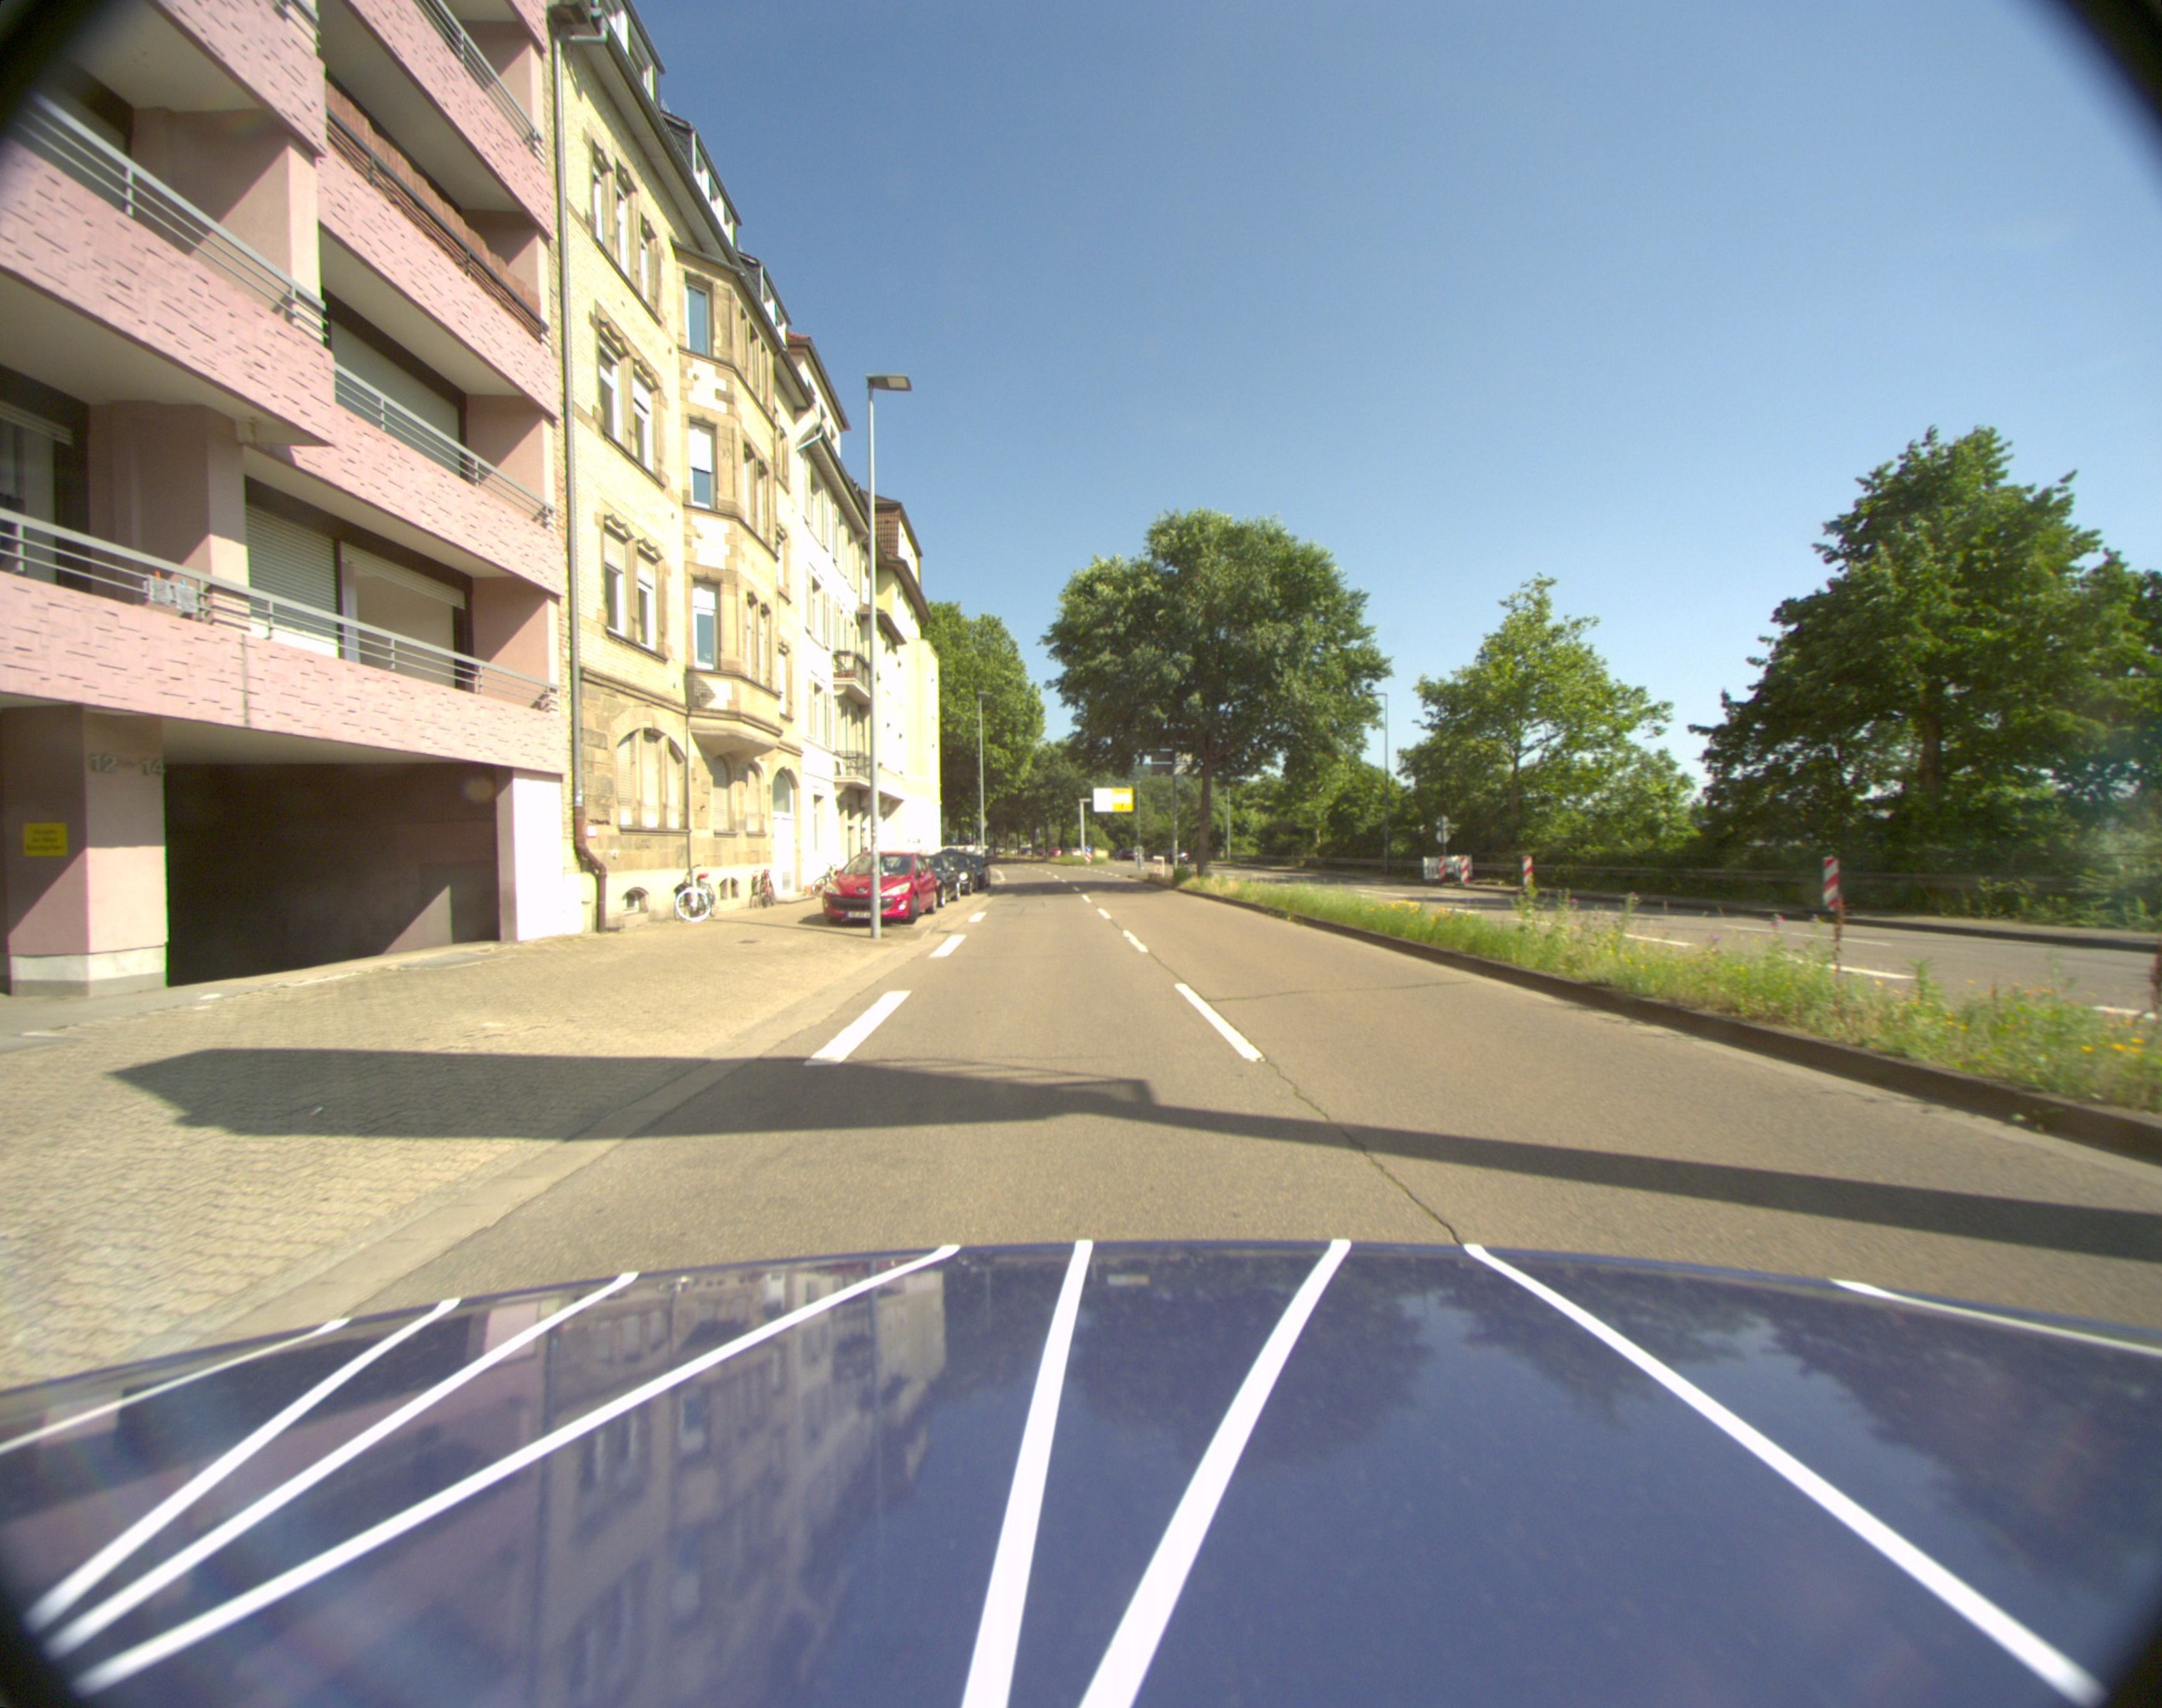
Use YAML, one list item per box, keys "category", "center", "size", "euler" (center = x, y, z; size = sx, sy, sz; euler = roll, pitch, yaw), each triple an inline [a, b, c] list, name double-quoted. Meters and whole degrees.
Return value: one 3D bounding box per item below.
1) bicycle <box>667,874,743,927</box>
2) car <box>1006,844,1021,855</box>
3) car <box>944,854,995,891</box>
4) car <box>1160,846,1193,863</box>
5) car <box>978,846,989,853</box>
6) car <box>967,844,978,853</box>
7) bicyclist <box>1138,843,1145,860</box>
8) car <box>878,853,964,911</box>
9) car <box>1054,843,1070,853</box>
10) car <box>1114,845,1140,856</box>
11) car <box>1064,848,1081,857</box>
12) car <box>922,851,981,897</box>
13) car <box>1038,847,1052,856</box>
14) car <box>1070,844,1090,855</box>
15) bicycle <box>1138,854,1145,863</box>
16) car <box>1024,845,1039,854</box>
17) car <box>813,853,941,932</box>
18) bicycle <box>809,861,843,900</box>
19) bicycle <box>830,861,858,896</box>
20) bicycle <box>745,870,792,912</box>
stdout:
- category: "bicycle"
  center: [-7.803, 0.939, 15.855]
  size: [0.652, 0.964, 1.864]
  euler: [0, 1, 0]
- category: "car"
  center: [-12.669, -0.870, 142.093]
  size: [2.001, 1.880, 3.993]
  euler: [-1, 1, -17]
- category: "car"
  center: [-4.588, 0.726, 31.760]
  size: [1.745, 1.408, 4.079]
  euler: [0, 1, -3]
- category: "car"
  center: [9.141, 0.036, 73.003]
  size: [2.000, 1.519, 4.694]
  euler: [1, 1, -8]
- category: "car"
  center: [-20.832, -1.038, 162.216]
  size: [1.636, 1.487, 3.674]
  euler: [-1, 1, -20]
- category: "car"
  center: [-24.052, -1.157, 168.622]
  size: [1.636, 1.904, 3.674]
  euler: [-1, 1, -20]
- category: "bicyclist"
  center: [5.714, -0.246, 71.687]
  size: [0.574, 1.525, 0.778]
  euler: [0, 1, 1]
- category: "car"
  center: [-4.433, 0.718, 21.589]
  size: [1.646, 1.444, 4.125]
  euler: [0, 1, -1]
- category: "car"
  center: [-2.891, -0.947, 116.971]
  size: [1.803, 1.511, 3.959]
  euler: [0, 1, -12]
- category: "car"
  center: [5.671, -0.441, 94.258]
  size: [2.001, 1.403, 4.609]
  euler: [0, 1, -12]
- category: "car"
  center: [-1.385, -0.282, 121.966]
  size: [1.647, 1.492, 3.643]
  euler: [-1, 1, -18]
- category: "car"
  center: [-4.551, 0.656, 27.158]
  size: [1.647, 1.492, 4.008]
  euler: [0, 1, -3]
- category: "car"
  center: [-6.526, -0.460, 136.712]
  size: [1.682, 1.461, 3.571]
  euler: [-1, 1, -17]
- category: "car"
  center: [-0.187, -0.695, 105.588]
  size: [1.871, 1.444, 4.199]
  euler: [1, 1, -13]
- category: "bicycle"
  center: [5.715, 0.405, 71.802]
  size: [0.495, 0.828, 1.806]
  euler: [0, 1, 0]
- category: "car"
  center: [-9.574, -0.896, 146.566]
  size: [1.925, 1.654, 4.304]
  euler: [-1, 1, -19]
- category: "car"
  center: [-4.268, 0.736, 16.532]
  size: [1.790, 1.474, 3.999]
  euler: [0, 1, -1]
- category: "bicycle"
  center: [-8.089, 0.819, 24.147]
  size: [0.657, 1.140, 1.625]
  euler: [1, 1, -5]
- category: "bicycle"
  center: [-8.240, 0.840, 26.488]
  size: [0.567, 1.173, 1.625]
  euler: [0, 1, -5]
- category: "bicycle"
  center: [-7.944, 0.915, 19.376]
  size: [0.509, 0.964, 1.652]
  euler: [0, 1, 0]
